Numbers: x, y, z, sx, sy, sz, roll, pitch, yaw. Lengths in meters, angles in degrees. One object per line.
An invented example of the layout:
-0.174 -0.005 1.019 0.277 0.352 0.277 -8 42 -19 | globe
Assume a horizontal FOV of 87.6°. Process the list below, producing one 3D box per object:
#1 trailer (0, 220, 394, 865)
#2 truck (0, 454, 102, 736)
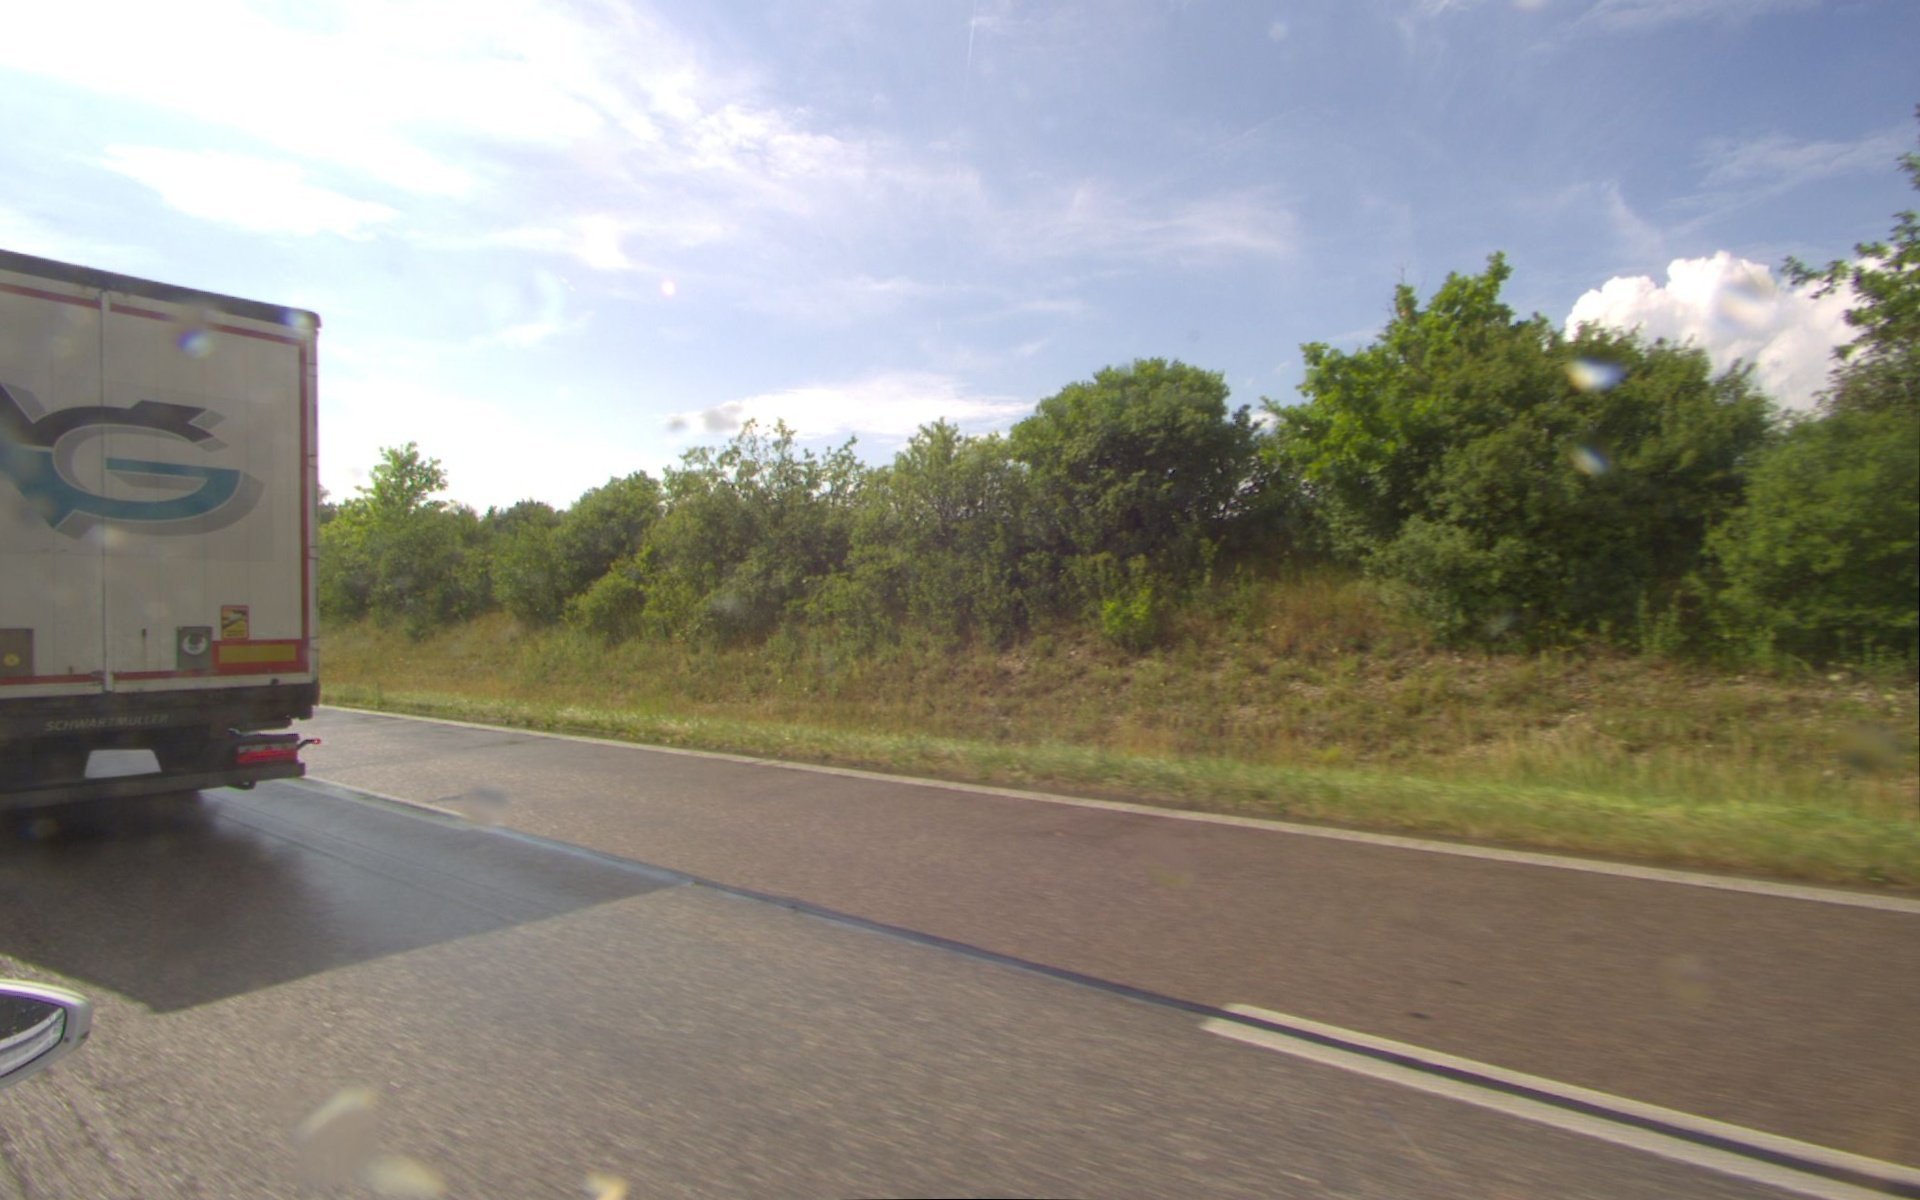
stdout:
-10.838 -0.197 11.081 13.961 3.948 3.270 -1 -2 40 | trailer
-16.211 -0.028 15.549 6.318 3.940 3.272 -1 -2 39 | truck
